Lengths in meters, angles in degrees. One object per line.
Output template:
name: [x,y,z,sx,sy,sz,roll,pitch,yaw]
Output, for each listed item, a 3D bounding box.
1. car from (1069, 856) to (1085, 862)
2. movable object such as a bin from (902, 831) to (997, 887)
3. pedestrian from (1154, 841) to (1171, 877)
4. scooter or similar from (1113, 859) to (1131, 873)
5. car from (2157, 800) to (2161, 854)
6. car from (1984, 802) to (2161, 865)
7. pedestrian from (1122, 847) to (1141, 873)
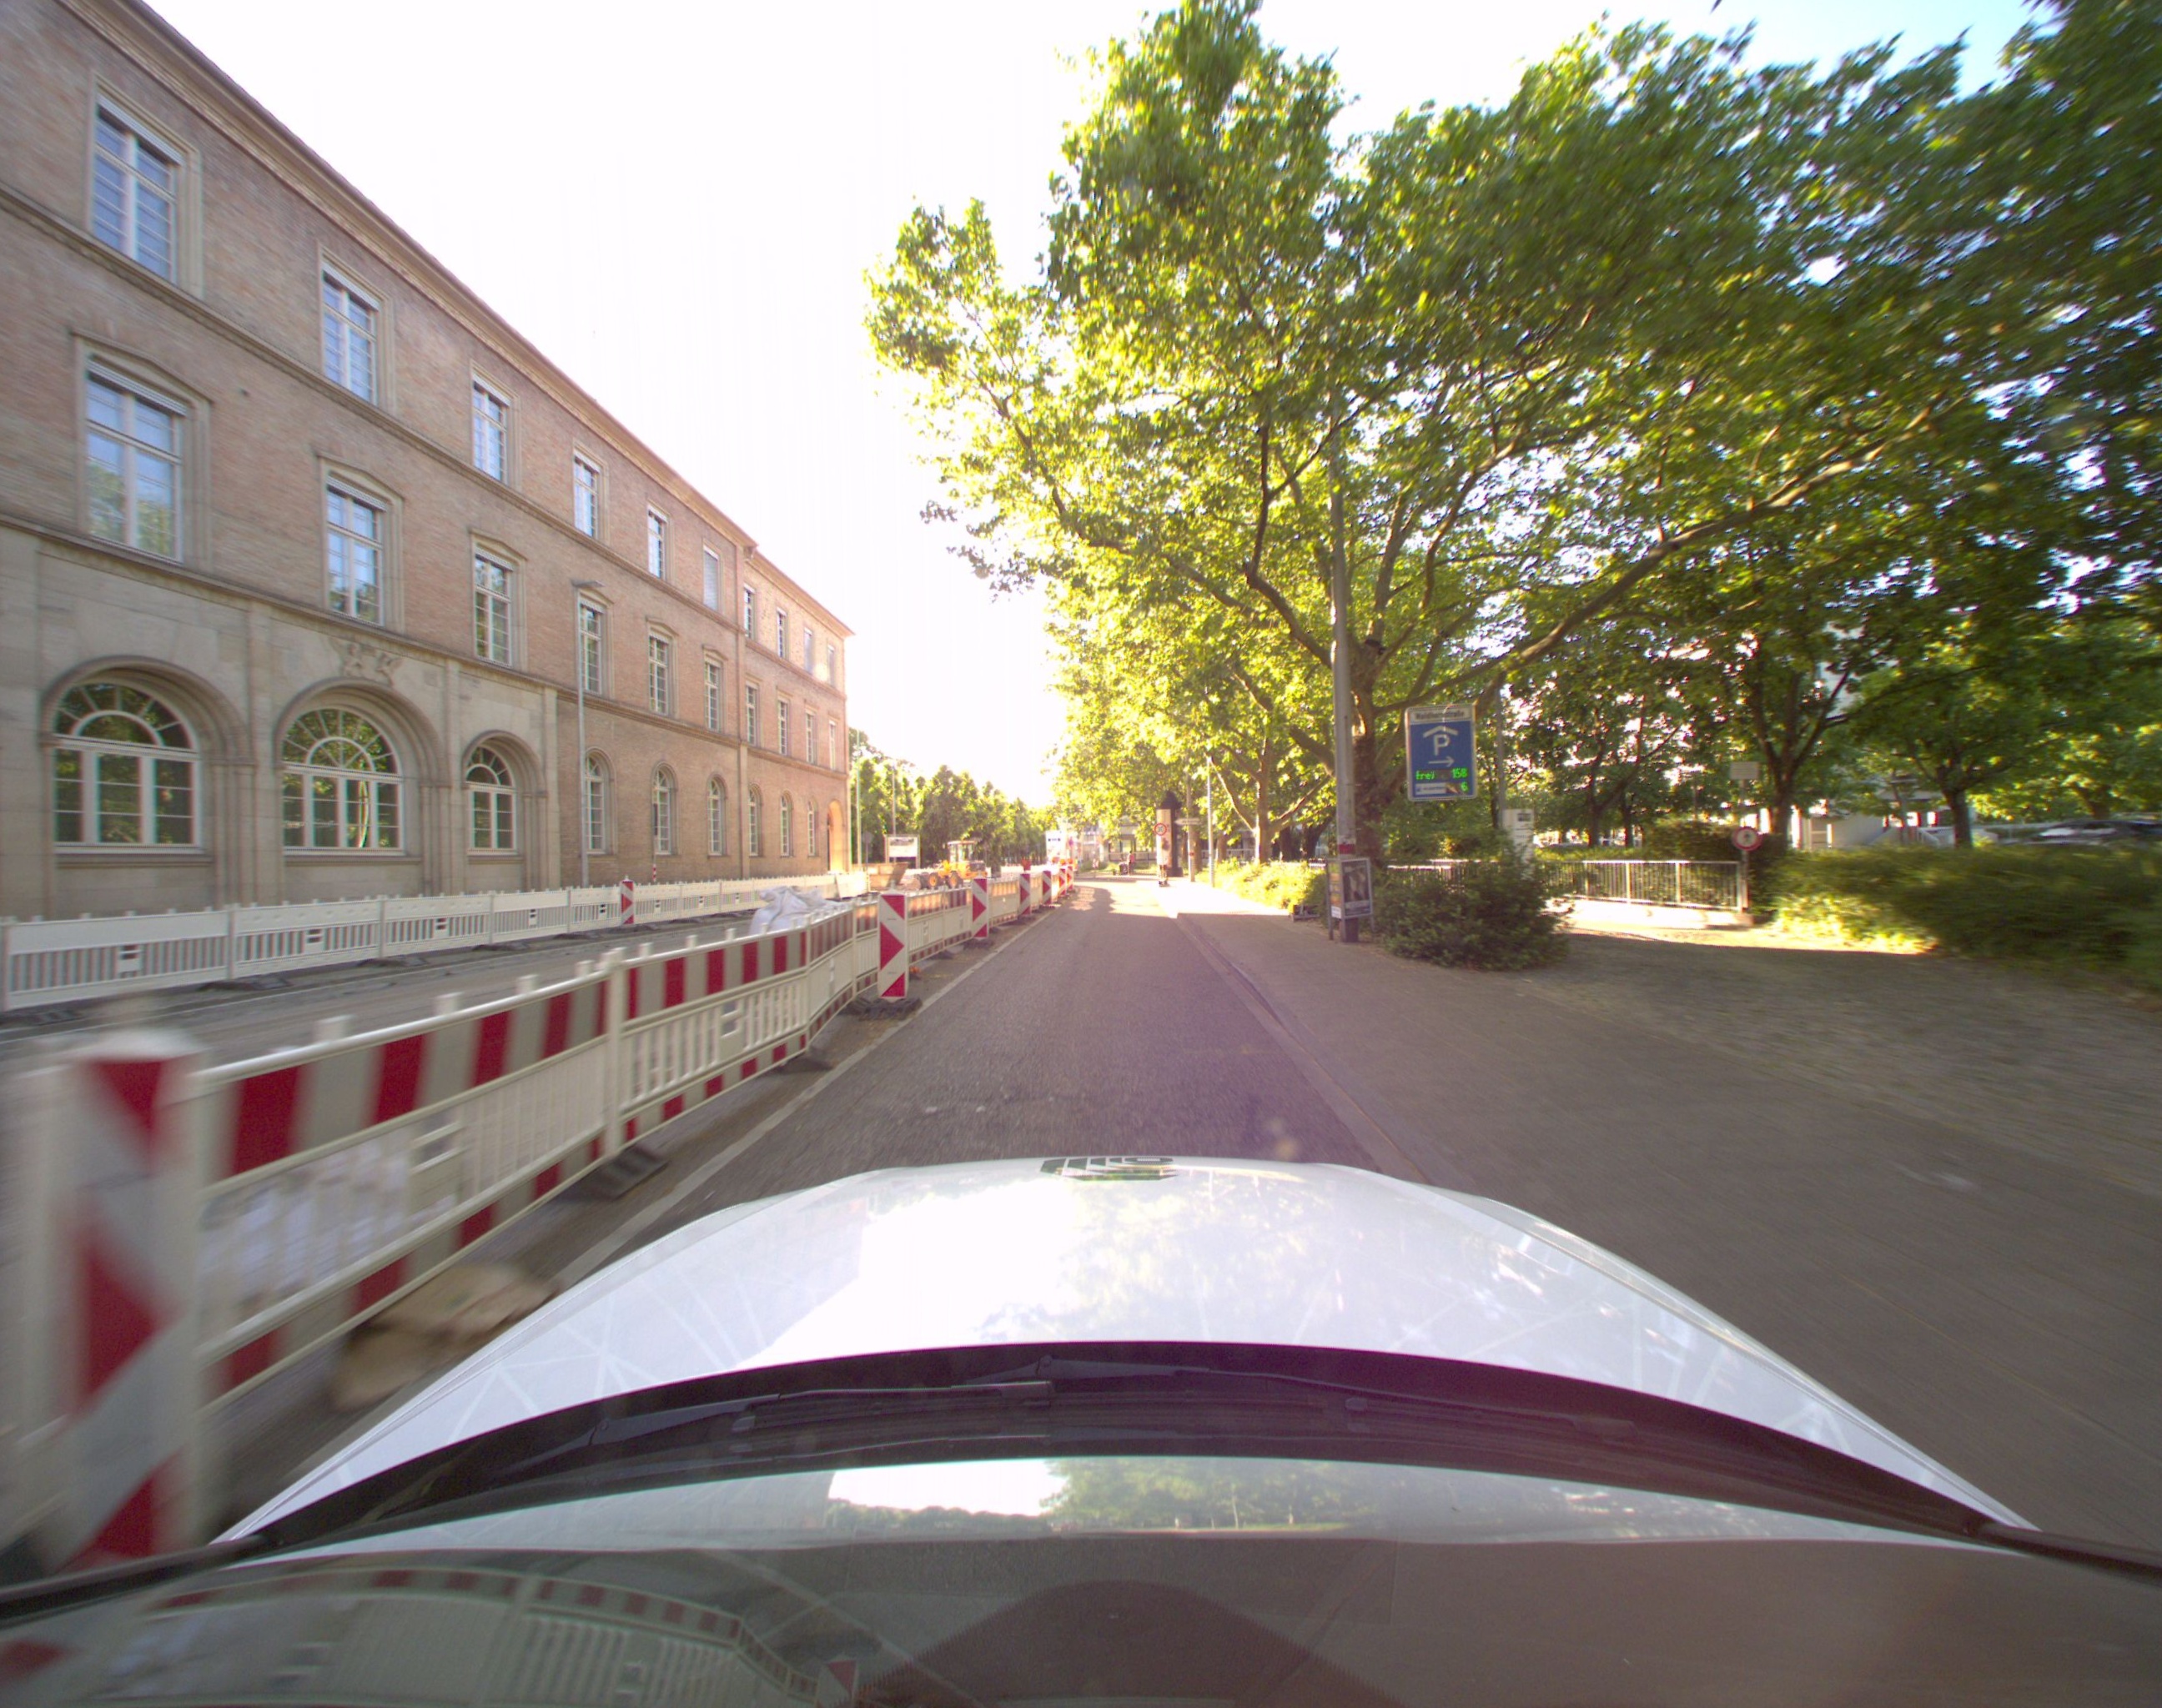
car: [-1.187,1.535,243.748,4.541,1.790,2.000,-1,0,1]
movable object such as a bin: [-7.941,0.346,48.665,2.582,3.031,5.858,-3,0,-44]
pedestrian: [4.296,0.256,42.947,0.743,1.812,1.133,-1,2,-2]
scooter or similar: [2.877,0.826,56.699,1.145,0.914,0.419,-4,-1,-6]
car: [33.278,-0.812,22.644,1.542,1.626,4.003,-1,0,3]
car: [28.691,-0.564,23.054,1.754,1.626,3.997,-2,0,-2]
pedestrian: [3.127,0.376,50.277,0.712,1.623,0.930,-1,-1,-29]
